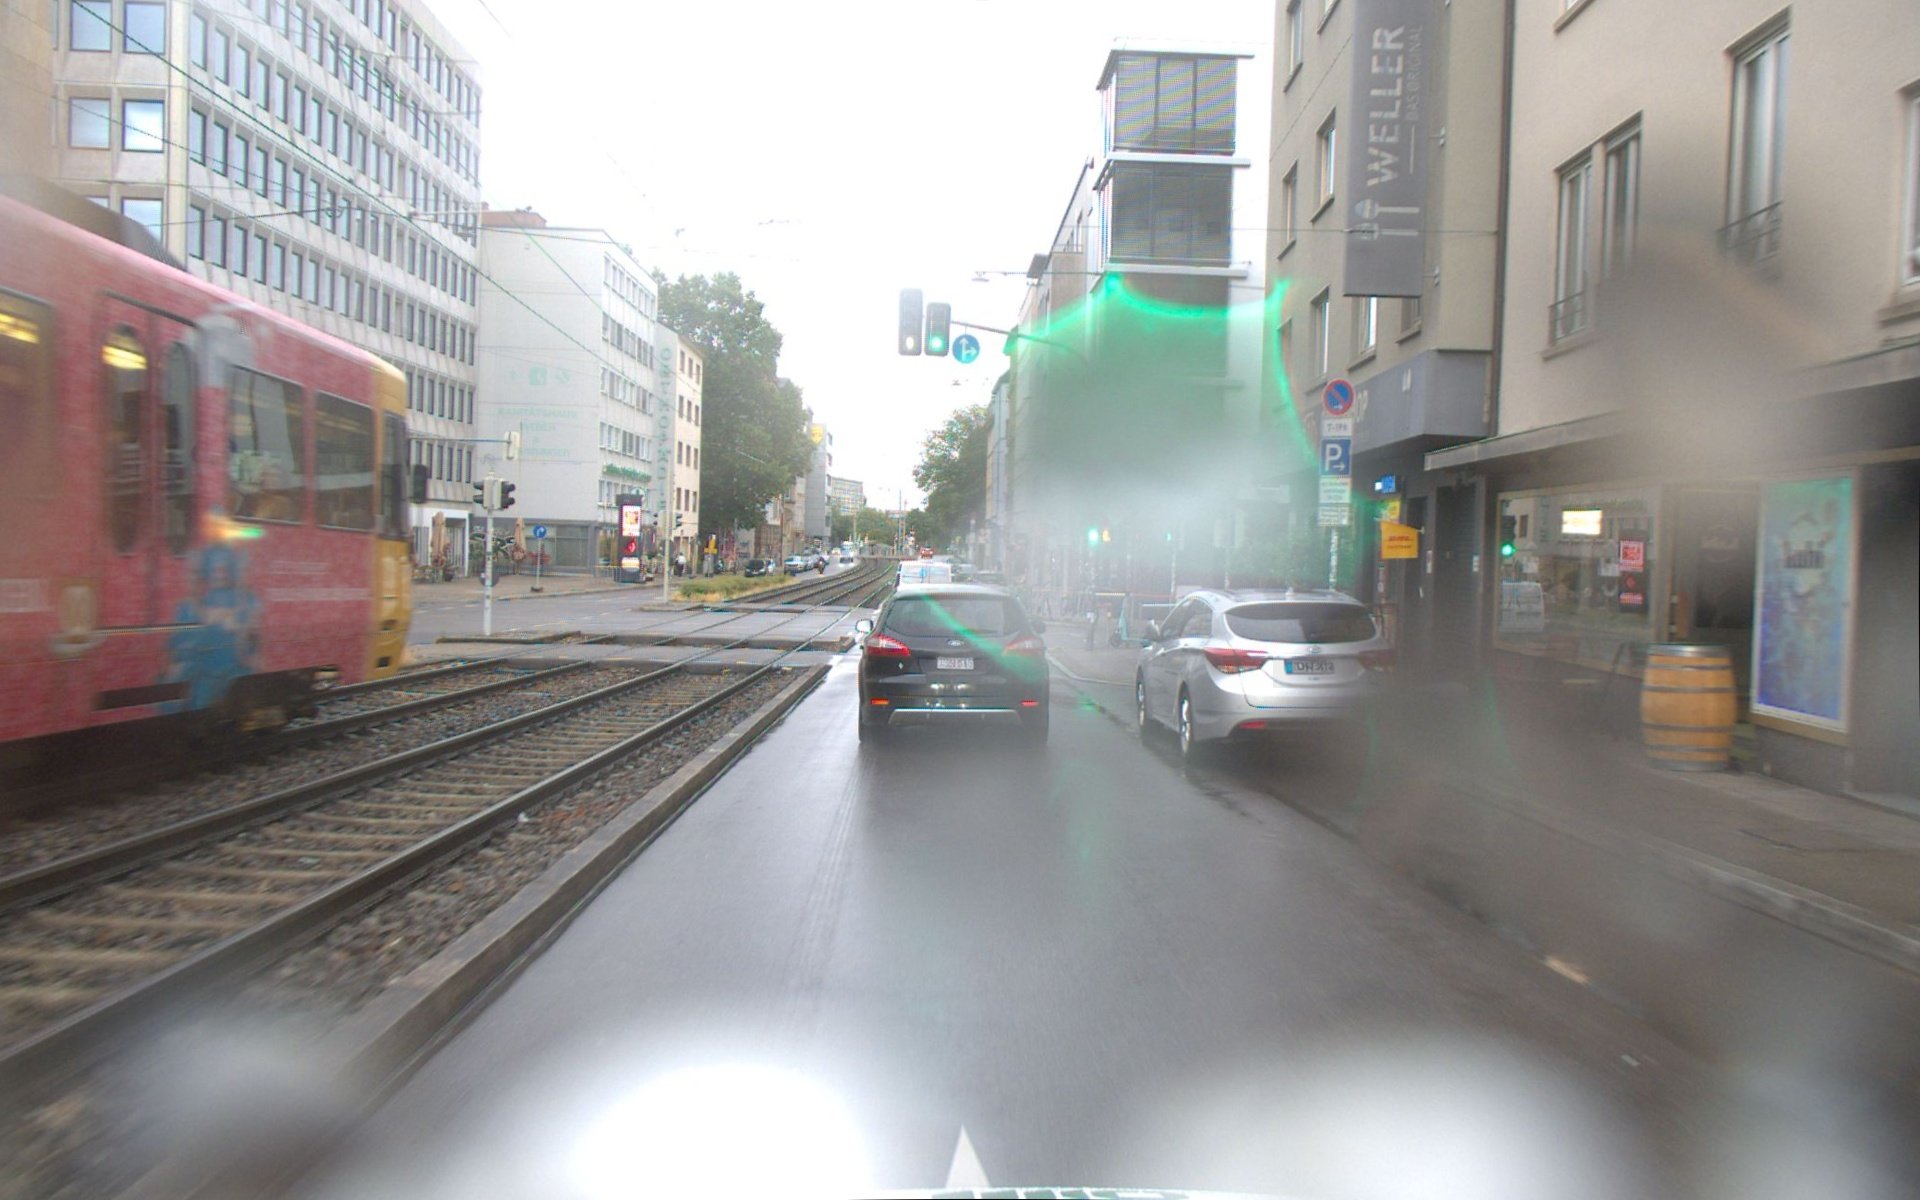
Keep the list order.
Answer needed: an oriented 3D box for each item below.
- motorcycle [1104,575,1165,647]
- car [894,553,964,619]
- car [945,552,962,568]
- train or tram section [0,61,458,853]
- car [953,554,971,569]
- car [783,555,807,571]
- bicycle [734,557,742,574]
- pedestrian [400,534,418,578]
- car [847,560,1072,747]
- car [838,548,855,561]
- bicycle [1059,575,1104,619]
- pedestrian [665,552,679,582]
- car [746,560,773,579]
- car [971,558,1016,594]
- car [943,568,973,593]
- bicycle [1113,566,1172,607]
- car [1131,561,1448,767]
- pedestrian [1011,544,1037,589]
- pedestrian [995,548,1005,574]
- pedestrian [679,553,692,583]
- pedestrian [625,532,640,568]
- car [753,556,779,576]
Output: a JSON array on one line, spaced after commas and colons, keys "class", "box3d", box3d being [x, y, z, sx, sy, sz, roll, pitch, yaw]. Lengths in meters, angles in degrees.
[{"class": "motorcycle", "box3d": [3.689, 0.230, 34.959, 1.121, 1.486, 0.675, 0, 1, -38]}, {"class": "car", "box3d": [-0.862, -0.427, 48.439, 1.952, 1.847, 4.272, 0, 1, 0]}, {"class": "car", "box3d": [-0.721, -4.277, 176.888, 1.609, 1.542, 4.038, 1, 2, -2]}, {"class": "train or tram section", "box3d": [-6.399, -0.737, 7.607, 2.843, 4.121, 18.764, 0, 1, -1]}, {"class": "car", "box3d": [0.191, -4.014, 172.097, 1.703, 1.514, 4.000, 1, 2, -2]}, {"class": "car", "box3d": [-16.361, -3.656, 164.276, 1.953, 1.545, 4.435, 1, 2, -1]}, {"class": "bicycle", "box3d": [-17.212, -2.672, 128.019, 0.580, 1.248, 2.399, 1, 1, -8]}, {"class": "pedestrian", "box3d": [-23.868, -1.914, 71.640, 0.553, 1.854, 0.843, 1, 1, -6]}, {"class": "car", "box3d": [-0.030, 0.437, 16.560, 1.953, 1.621, 4.271, 0, 1, -1]}, {"class": "car", "box3d": [-14.939, -5.990, 217.795, 1.953, 1.545, 4.443, 2, 0, -1]}, {"class": "bicycle", "box3d": [3.749, -0.102, 51.286, 0.491, 1.280, 1.941, 1, 1, -25]}, {"class": "pedestrian", "box3d": [-18.521, -2.119, 106.390, 0.712, 1.928, 0.983, 1, 1, -1]}, {"class": "car", "box3d": [-15.861, -2.427, 130.895, 1.708, 1.494, 4.219, 0, 2, -1]}, {"class": "car", "box3d": [1.552, -1.134, 77.410, 1.953, 1.621, 4.271, 0, 1, -1]}, {"class": "car", "box3d": [-0.138, -1.305, 108.962, 1.953, 1.621, 4.571, 0, 1, -1]}, {"class": "bicycle", "box3d": [5.467, -0.401, 49.746, 0.572, 1.177, 1.931, 1, 1, -37]}, {"class": "car", "box3d": [2.853, 0.472, 15.422, 1.983, 1.621, 4.620, 0, 1, -1]}, {"class": "pedestrian", "box3d": [2.298, -1.200, 59.465, 0.650, 1.610, 0.774, 0, 1, -23]}, {"class": "pedestrian", "box3d": [3.156, -3.117, 131.894, 0.721, 2.048, 0.821, 1, 2, -2]}, {"class": "pedestrian", "box3d": [-17.642, -2.074, 106.259, 0.665, 1.928, 0.742, 1, 1, -1]}, {"class": "pedestrian", "box3d": [-18.073, -2.749, 91.176, 0.713, 1.928, 0.688, 1, 1, -5]}, {"class": "car", "box3d": [-15.888, -2.798, 135.834, 1.687, 1.597, 4.219, 1, 2, -1]}]
